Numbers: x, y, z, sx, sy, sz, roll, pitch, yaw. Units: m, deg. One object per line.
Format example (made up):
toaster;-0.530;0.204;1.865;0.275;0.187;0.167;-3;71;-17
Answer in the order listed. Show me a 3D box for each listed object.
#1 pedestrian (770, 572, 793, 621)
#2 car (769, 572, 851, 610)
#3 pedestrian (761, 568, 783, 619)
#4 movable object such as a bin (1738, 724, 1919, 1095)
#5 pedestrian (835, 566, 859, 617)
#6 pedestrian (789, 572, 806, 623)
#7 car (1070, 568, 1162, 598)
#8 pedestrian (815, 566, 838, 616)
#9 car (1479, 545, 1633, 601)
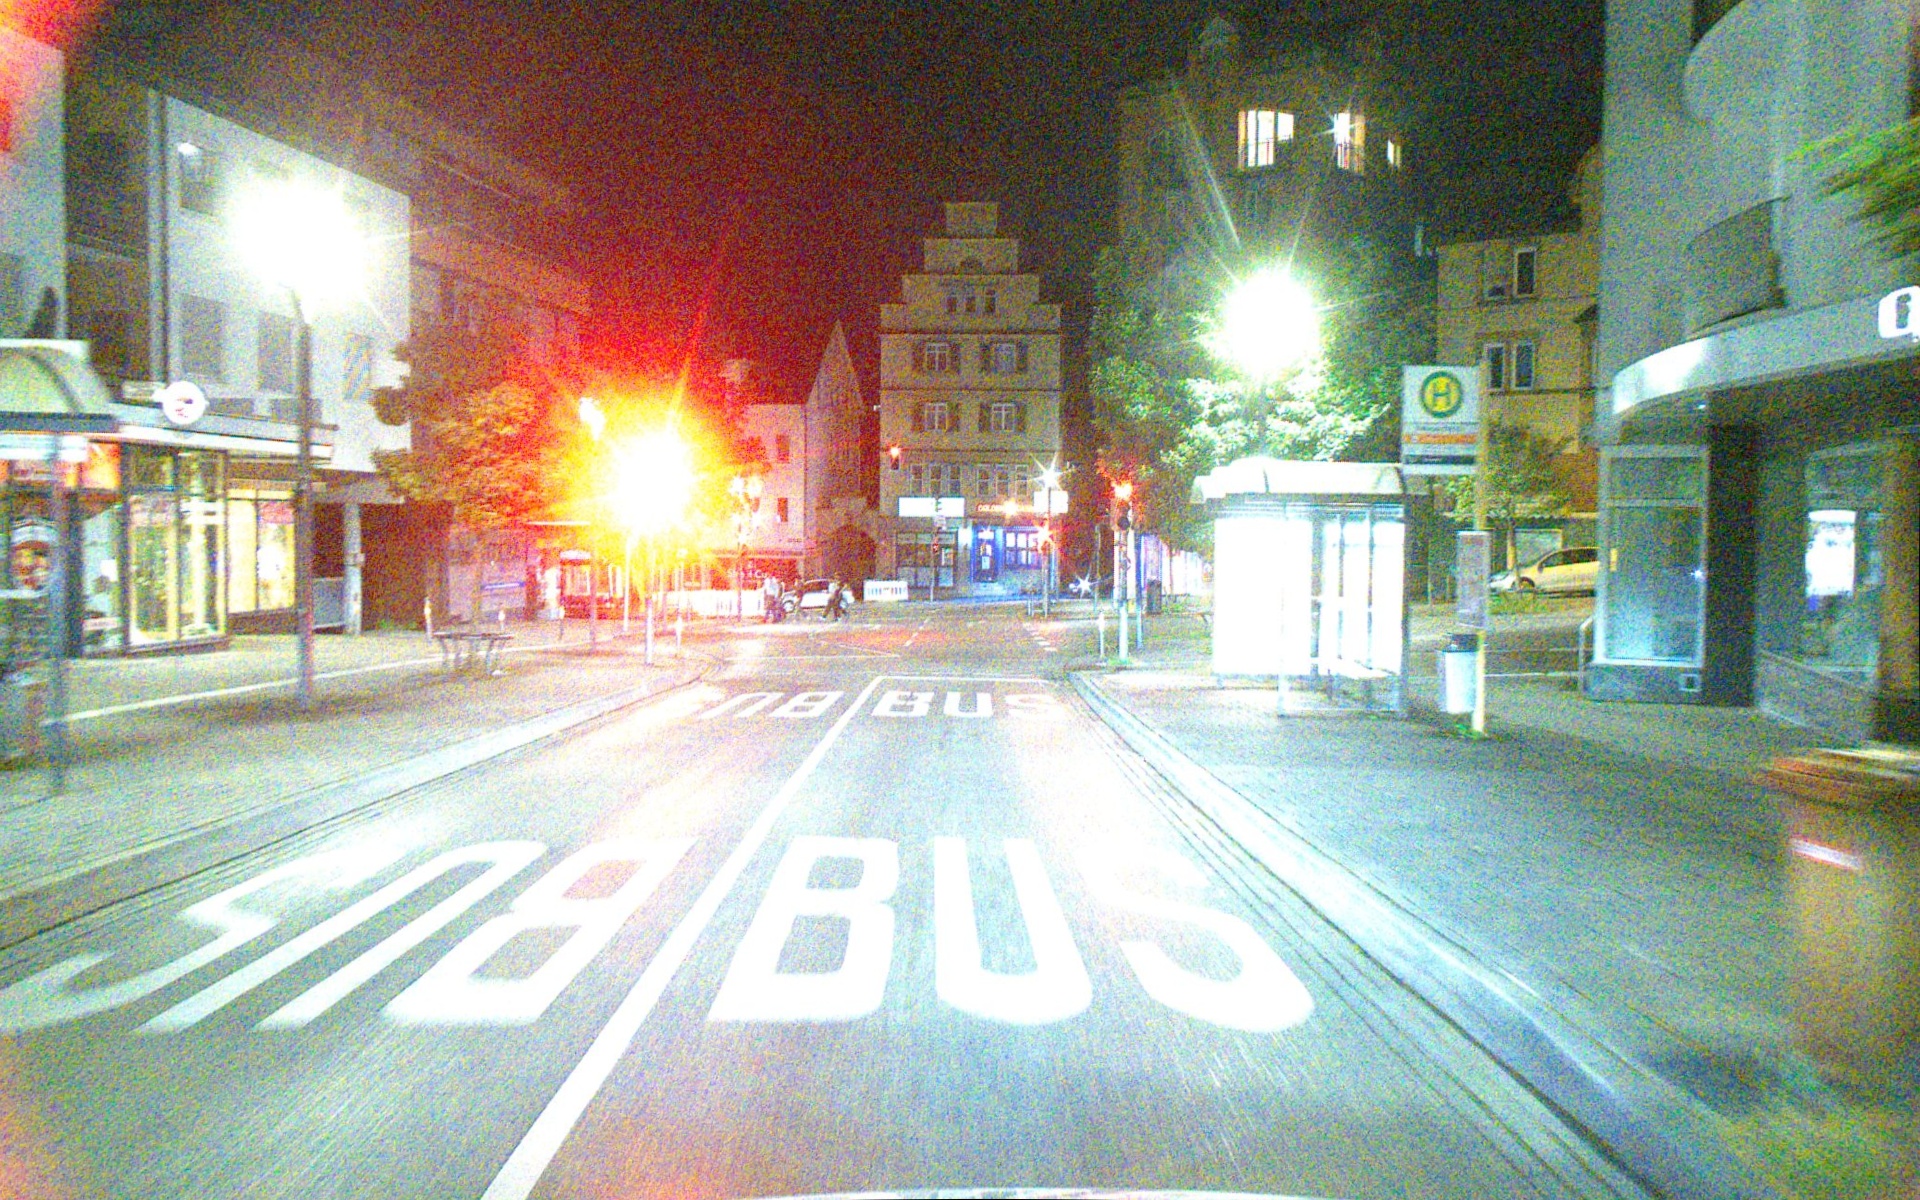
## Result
pedestrian;-6.766;-0.132;62.747;0.700;1.827;0.570;1;-1;7
car;-7.009;-0.415;77.005;3.683;1.646;1.831;2;-1;-9
pedestrian;-6.773;-0.223;59.618;0.701;1.827;0.569;1;-1;1
movable object such as a bin;2.694;0.859;4.794;0.514;0.953;0.628;2;-1;-11
pedestrian;-4.120;-0.295;60.332;0.723;1.827;0.715;2;-1;-16
pedestrian;-5.977;-0.086;60.821;0.557;1.827;0.717;2;-1;-6
car;7.733;-0.816;82.128;4.332;1.320;1.639;2;-1;-6
pedestrian;-4.908;-0.320;60.802;0.562;1.827;0.710;2;-1;-33
car;17.619;-0.812;49.038;3.956;1.478;1.827;-2;1;7
